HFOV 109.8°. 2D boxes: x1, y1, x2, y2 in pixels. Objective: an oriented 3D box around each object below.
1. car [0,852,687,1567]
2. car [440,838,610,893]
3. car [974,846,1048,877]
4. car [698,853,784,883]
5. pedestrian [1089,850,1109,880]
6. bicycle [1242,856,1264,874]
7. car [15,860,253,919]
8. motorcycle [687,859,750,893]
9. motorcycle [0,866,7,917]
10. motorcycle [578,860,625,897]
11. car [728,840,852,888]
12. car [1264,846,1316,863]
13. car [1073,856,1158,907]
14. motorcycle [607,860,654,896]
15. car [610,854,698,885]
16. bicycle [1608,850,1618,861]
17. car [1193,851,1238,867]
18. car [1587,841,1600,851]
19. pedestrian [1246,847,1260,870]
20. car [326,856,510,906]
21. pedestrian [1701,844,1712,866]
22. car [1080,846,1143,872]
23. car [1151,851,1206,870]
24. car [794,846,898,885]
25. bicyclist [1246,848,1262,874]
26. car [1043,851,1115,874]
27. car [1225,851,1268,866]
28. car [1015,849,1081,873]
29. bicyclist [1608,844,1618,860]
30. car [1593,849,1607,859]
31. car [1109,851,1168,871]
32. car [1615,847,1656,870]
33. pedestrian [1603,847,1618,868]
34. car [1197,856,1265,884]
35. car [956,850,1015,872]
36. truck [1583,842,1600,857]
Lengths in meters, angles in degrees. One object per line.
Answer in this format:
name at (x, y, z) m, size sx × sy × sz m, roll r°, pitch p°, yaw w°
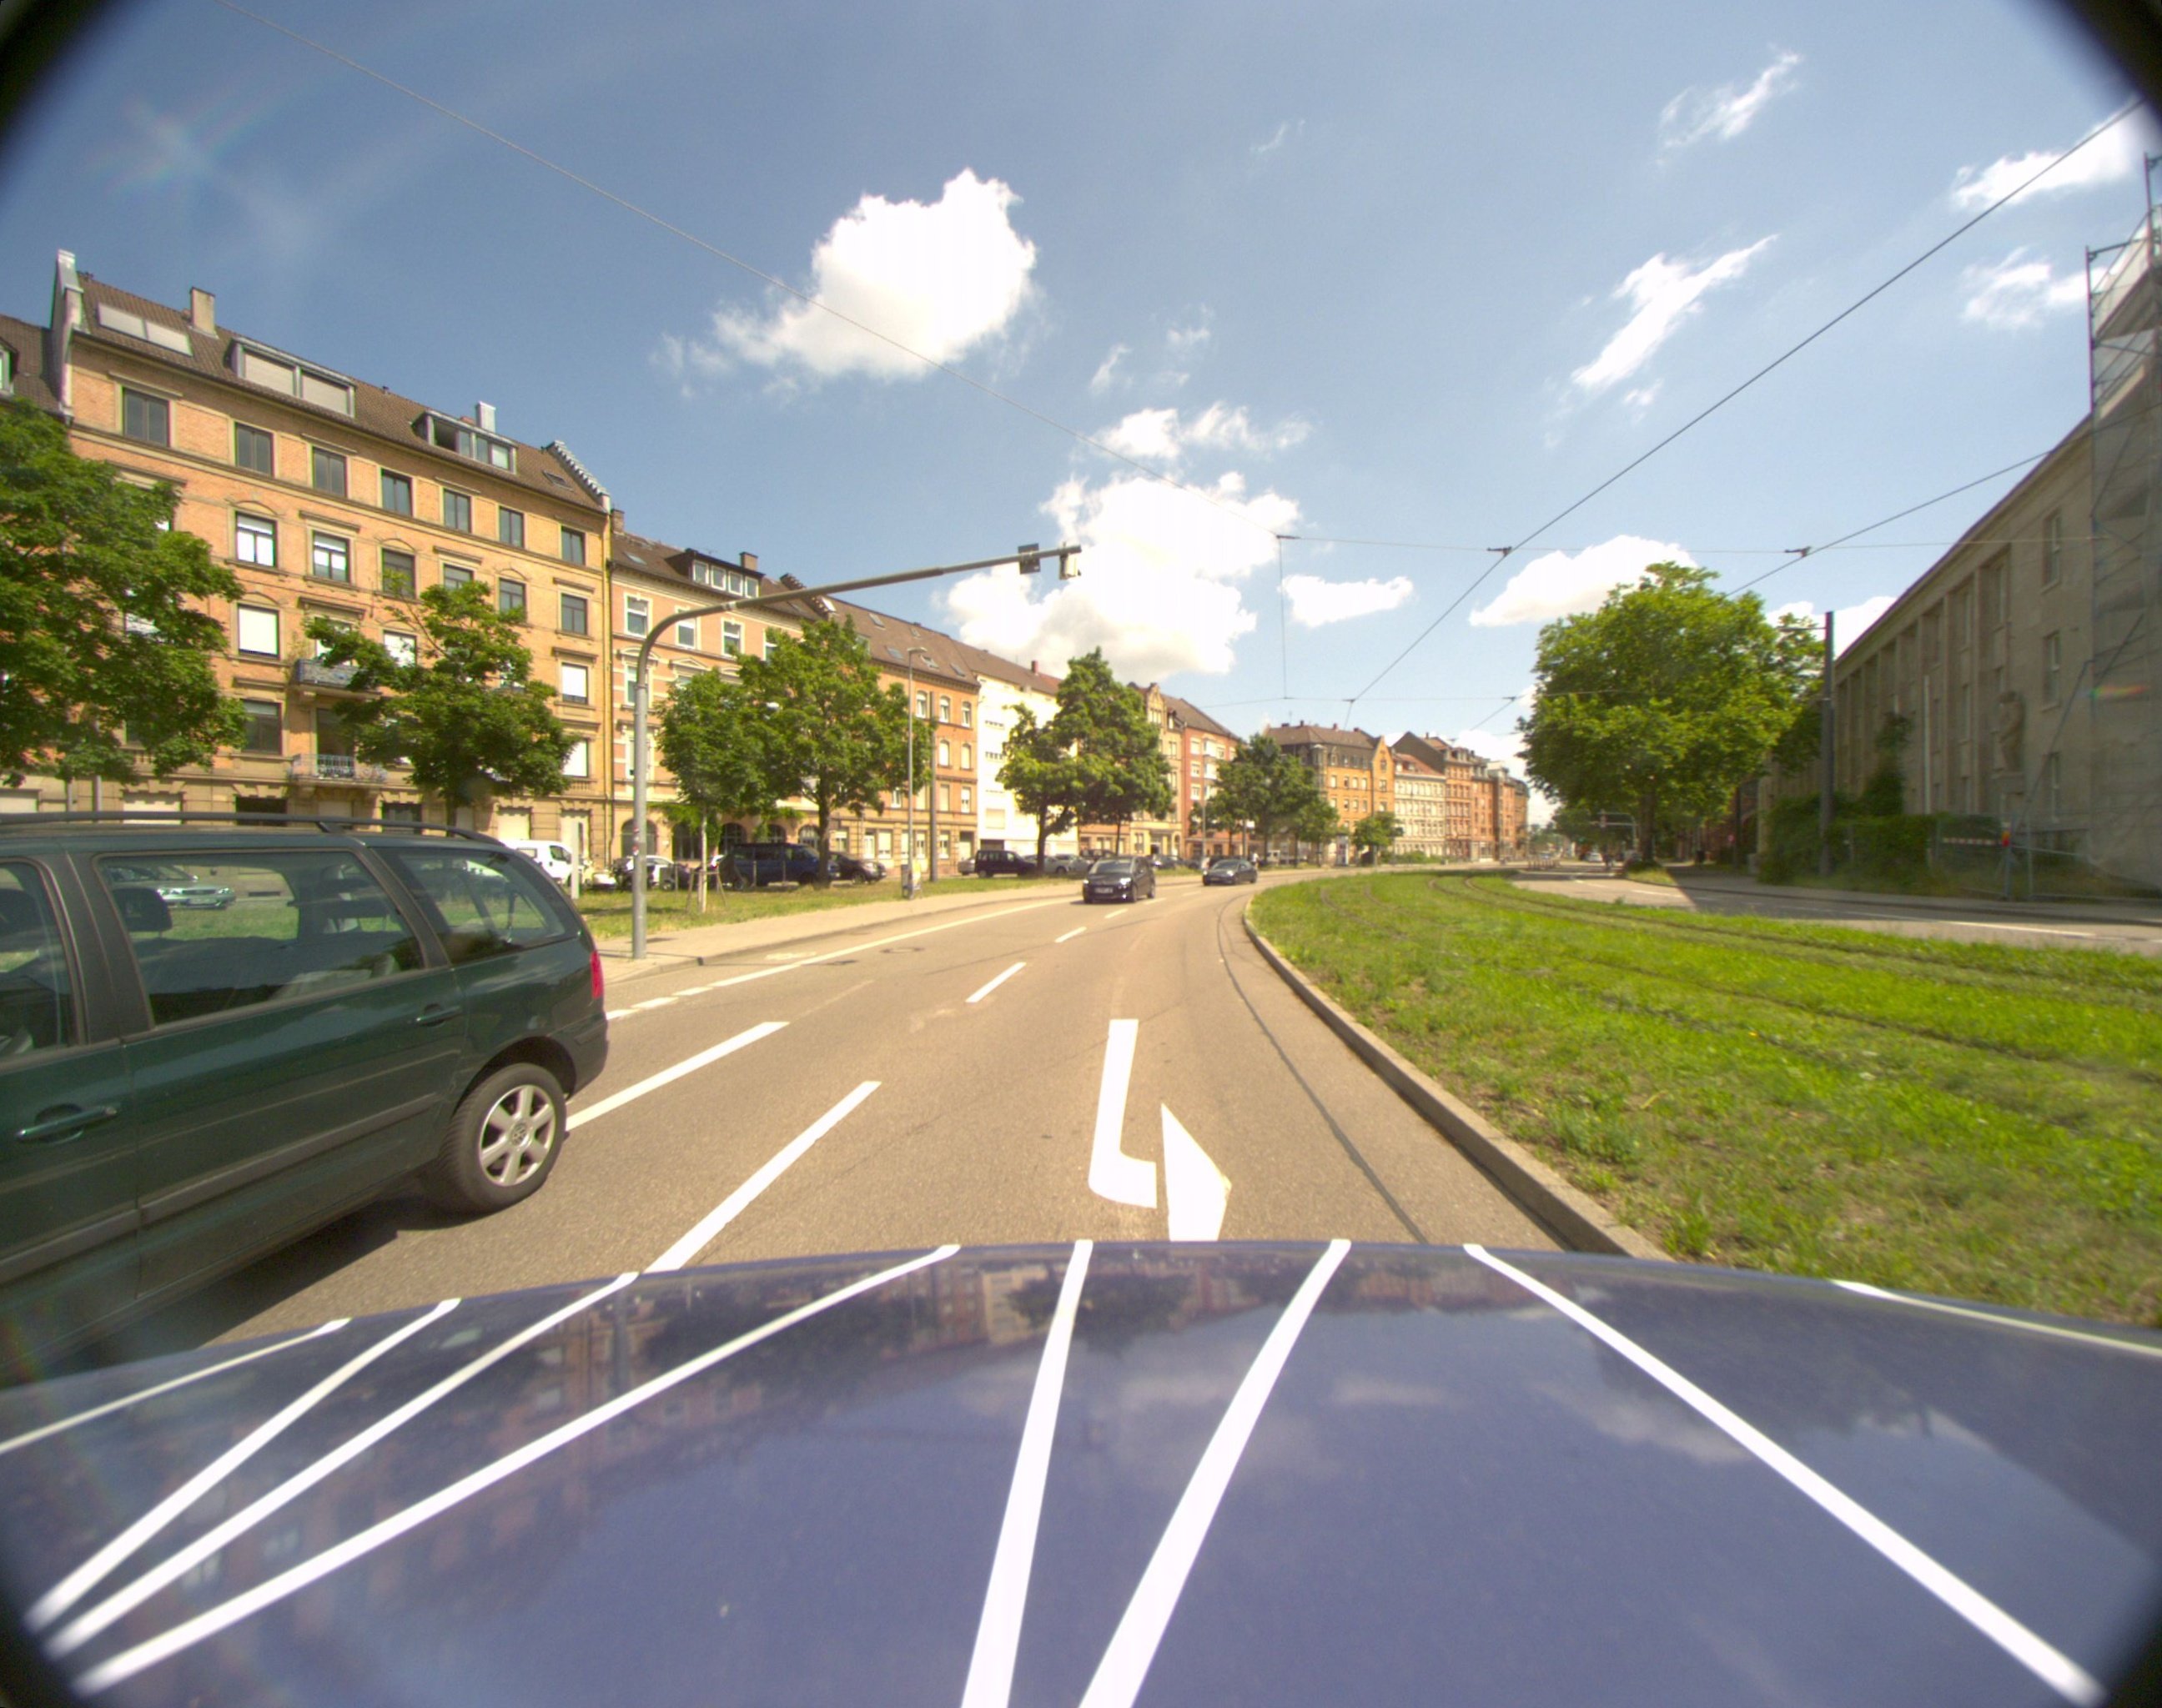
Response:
car at (-3.553, 0.897, 2.256) m, size 1.823 × 1.746 × 5.033 m, roll -2°, pitch 0°, yaw 4°
car at (-23.581, 0.437, 32.460) m, size 2.112 × 2.166 × 5.405 m, roll -2°, pitch 0°, yaw 36°
car at (-4.225, 0.466, 46.422) m, size 4.145 × 1.731 × 1.853 m, roll -2°, pitch 0°, yaw 5°
car at (-18.080, 0.735, 40.560) m, size 1.660 × 1.483 × 3.861 m, roll -2°, pitch 0°, yaw 36°
pedestrian at (1.005, 0.586, 42.058) m, size 0.700 × 1.583 × 0.907 m, roll 3°, pitch 4°, yaw 35°
bicycle at (12.728, 0.810, 56.152) m, size 0.693 × 1.235 × 1.843 m, roll 6°, pitch 3°, yaw 39°
car at (-22.665, 0.837, 18.250) m, size 4.158 × 1.237 × 1.865 m, roll -2°, pitch 0°, yaw 12°
motorcycle at (-12.938, 0.757, 27.161) m, size 1.910 × 1.160 × 0.638 m, roll -1°, pitch 1°, yaw -42°
motorcycle at (-25.091, 0.858, 16.709) m, size 2.387 × 1.119 × 0.813 m, roll -2°, pitch 0°, yaw 12°
motorcycle at (-15.612, 0.792, 24.731) m, size 1.784 × 1.160 × 0.641 m, roll 0°, pitch 1°, yaw 35°
car at (-12.683, 0.443, 33.295) m, size 4.624 × 1.916 × 1.917 m, roll -2°, pitch 0°, yaw 5°
car at (30.472, 0.102, 110.811) m, size 6.962 × 2.360 × 2.267 m, roll -1°, pitch 0°, yaw 28°
car at (1.334, 0.929, 27.106) m, size 1.873 × 1.610 × 4.195 m, roll -1°, pitch 0°, yaw 19°
motorcycle at (-15.102, 0.775, 25.453) m, size 1.784 × 1.160 × 0.641 m, roll 0°, pitch 1°, yaw 35°
car at (-20.677, 0.729, 36.849) m, size 1.564 × 1.395 × 3.357 m, roll 0°, pitch 0°, yaw 38°
bicycle at (55.950, 0.113, 79.905) m, size 0.791 × 1.103 × 2.281 m, roll -2°, pitch 0°, yaw 36°
car at (12.153, 0.446, 68.880) m, size 3.994 × 1.372 × 1.963 m, roll -2°, pitch 0°, yaw 8°
car at (96.519, -1.573, 143.138) m, size 1.921 × 1.736 × 4.546 m, roll 3°, pitch 2°, yaw 35°
pedestrian at (13.473, 0.342, 59.527) m, size 0.700 × 1.695 × 1.046 m, roll 1°, pitch 3°, yaw 35°
car at (-20.068, 0.800, 23.086) m, size 4.254 × 1.419 × 1.806 m, roll -1°, pitch 0°, yaw 7°
pedestrian at (46.460, 0.074, 56.435) m, size 0.554 × 1.582 × 0.797 m, roll -1°, pitch 0°, yaw 35°
car at (2.170, 0.356, 54.358) m, size 4.363 × 1.731 × 1.852 m, roll -2°, pitch 0°, yaw 0°
car at (8.021, 0.528, 62.813) m, size 4.266 × 1.372 × 1.852 m, roll -2°, pitch 0°, yaw 0°
car at (-11.031, 0.538, 35.801) m, size 4.168 × 1.646 × 1.918 m, roll -2°, pitch 0°, yaw 9°
bicyclist at (12.797, 0.516, 56.193) m, size 0.694 × 1.814 × 0.958 m, roll 6°, pitch 4°, yaw 39°
car at (-0.099, 0.569, 51.247) m, size 4.689 × 1.372 × 1.853 m, roll -2°, pitch 0°, yaw 2°
car at (16.112, 0.472, 73.955) m, size 3.993 × 1.346 × 1.964 m, roll -2°, pitch 0°, yaw 14°
car at (-2.101, 0.469, 48.740) m, size 4.082 × 1.397 × 1.852 m, roll -2°, pitch 0°, yaw 1°
bicyclist at (55.866, -0.213, 79.794) m, size 0.761 × 1.694 × 0.785 m, roll -1°, pitch 0°, yaw 37°
car at (78.806, -0.019, 115.351) m, size 1.760 × 1.471 × 3.796 m, roll 2°, pitch 1°, yaw 35°
car at (4.336, 0.512, 57.606) m, size 4.266 × 1.372 × 1.852 m, roll -2°, pitch 0°, yaw 0°
car at (35.438, 0.280, 48.665) m, size 1.927 × 1.360 × 4.326 m, roll -2°, pitch -1°, yaw 34°
pedestrian at (44.089, 0.294, 63.254) m, size 0.782 × 1.694 × 0.703 m, roll -2°, pitch 0°, yaw 7°
car at (8.383, 0.859, 42.238) m, size 1.911 × 1.386 × 4.322 m, roll -2°, pitch 0°, yaw 38°
car at (-7.000, 0.487, 56.076) m, size 1.833 × 1.483 × 4.235 m, roll -2°, pitch 0°, yaw 36°
truck at (108.977, -0.947, 162.133) m, size 2.639 × 3.089 × 7.237 m, roll 2°, pitch 2°, yaw 36°
